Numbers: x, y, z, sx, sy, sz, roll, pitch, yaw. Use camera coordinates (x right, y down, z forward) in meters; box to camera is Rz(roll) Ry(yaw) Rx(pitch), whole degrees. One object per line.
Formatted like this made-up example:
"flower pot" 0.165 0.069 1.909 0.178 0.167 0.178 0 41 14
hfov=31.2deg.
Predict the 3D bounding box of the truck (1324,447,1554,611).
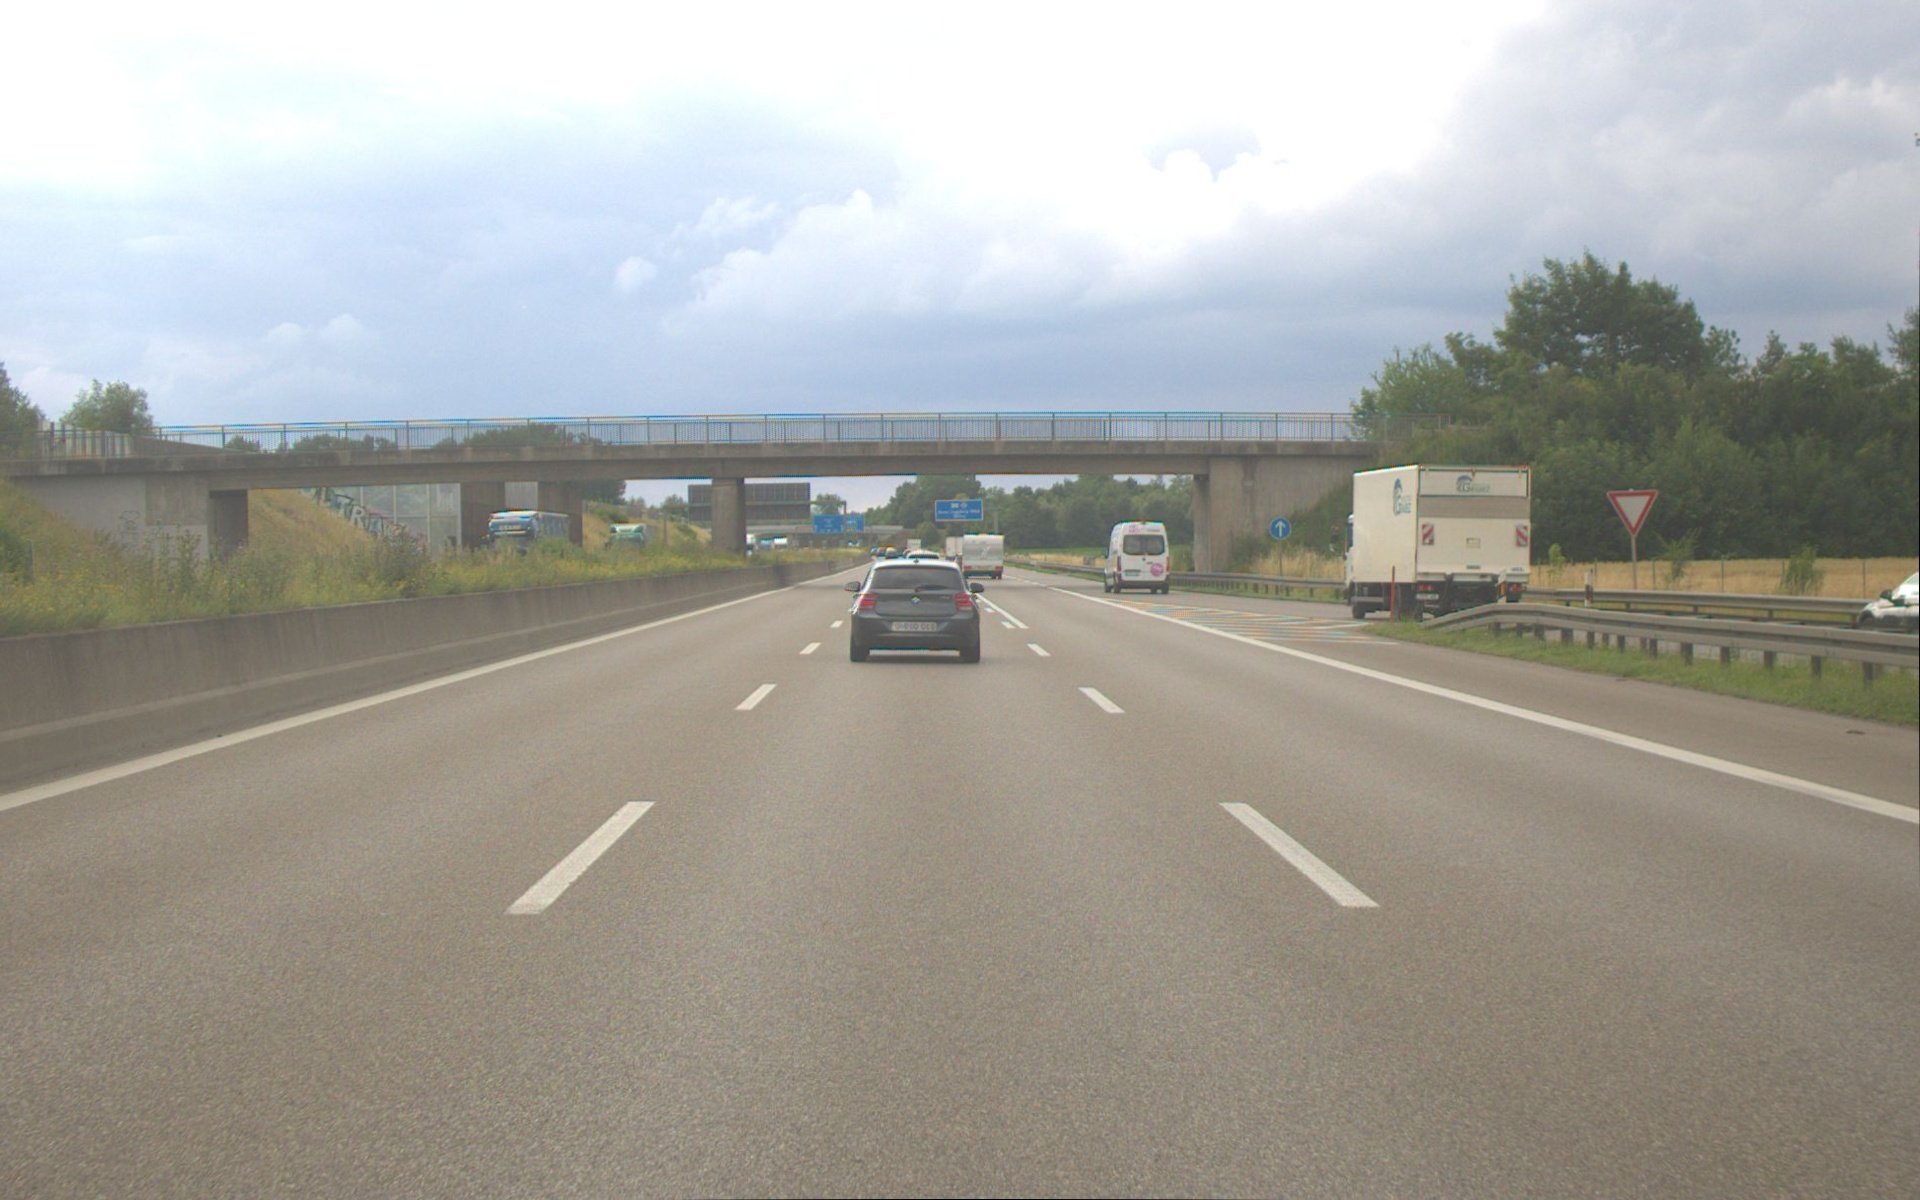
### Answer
"truck" 10.816 -1.599 78.661 3.104 3.459 8.893 1 1 -6

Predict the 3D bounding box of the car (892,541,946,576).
"car" -1.567 -1.596 131.260 1.993 1.294 4.000 -1 1 -1

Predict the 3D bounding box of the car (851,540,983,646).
"car" -0.599 -0.132 47.878 1.743 1.384 4.000 1 1 -1

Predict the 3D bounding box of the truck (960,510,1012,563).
"truck" 1.462 -3.674 200.300 2.710 2.954 12.448 1 1 -1

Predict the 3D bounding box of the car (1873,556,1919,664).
"car" 14.857 0.147 49.440 1.917 1.545 4.924 -1 1 -3

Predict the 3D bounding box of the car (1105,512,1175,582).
"car" 6.742 -1.999 129.108 2.221 2.559 6.256 0 1 -1
